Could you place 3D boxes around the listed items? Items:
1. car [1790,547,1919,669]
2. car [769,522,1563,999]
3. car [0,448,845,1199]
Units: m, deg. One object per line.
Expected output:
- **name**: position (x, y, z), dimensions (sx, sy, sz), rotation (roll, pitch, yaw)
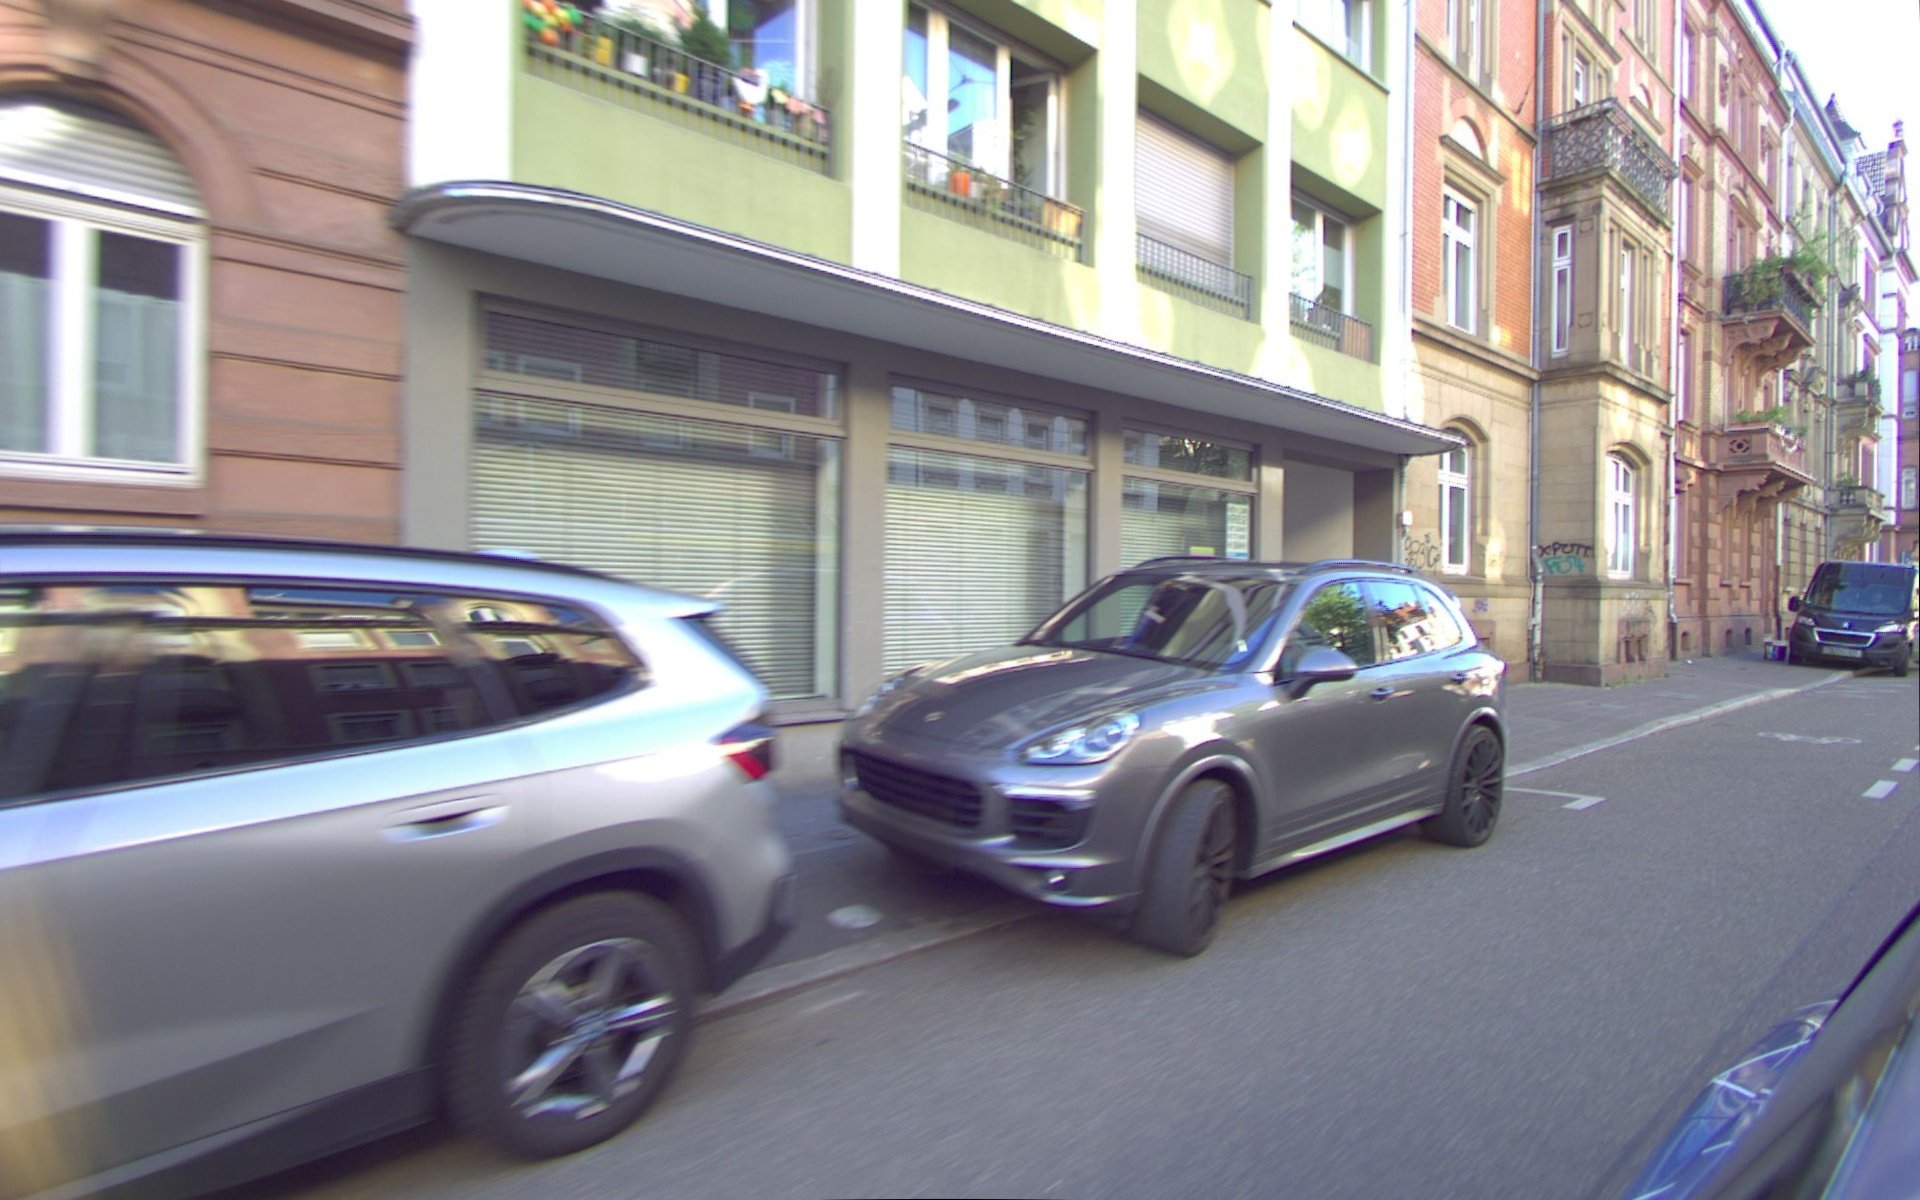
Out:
- **car**: position (21.425, 0.133, 23.583), dimensions (5.751, 2.524, 2.127), rotation (-1, 0, -40)
- **car**: position (1.485, 0.476, 5.792), dimensions (4.703, 1.635, 1.998), rotation (-1, 4, -42)
- **car**: position (-2.540, 0.560, 2.355), dimensions (1.866, 1.667, 4.330), rotation (0, 0, 45)
